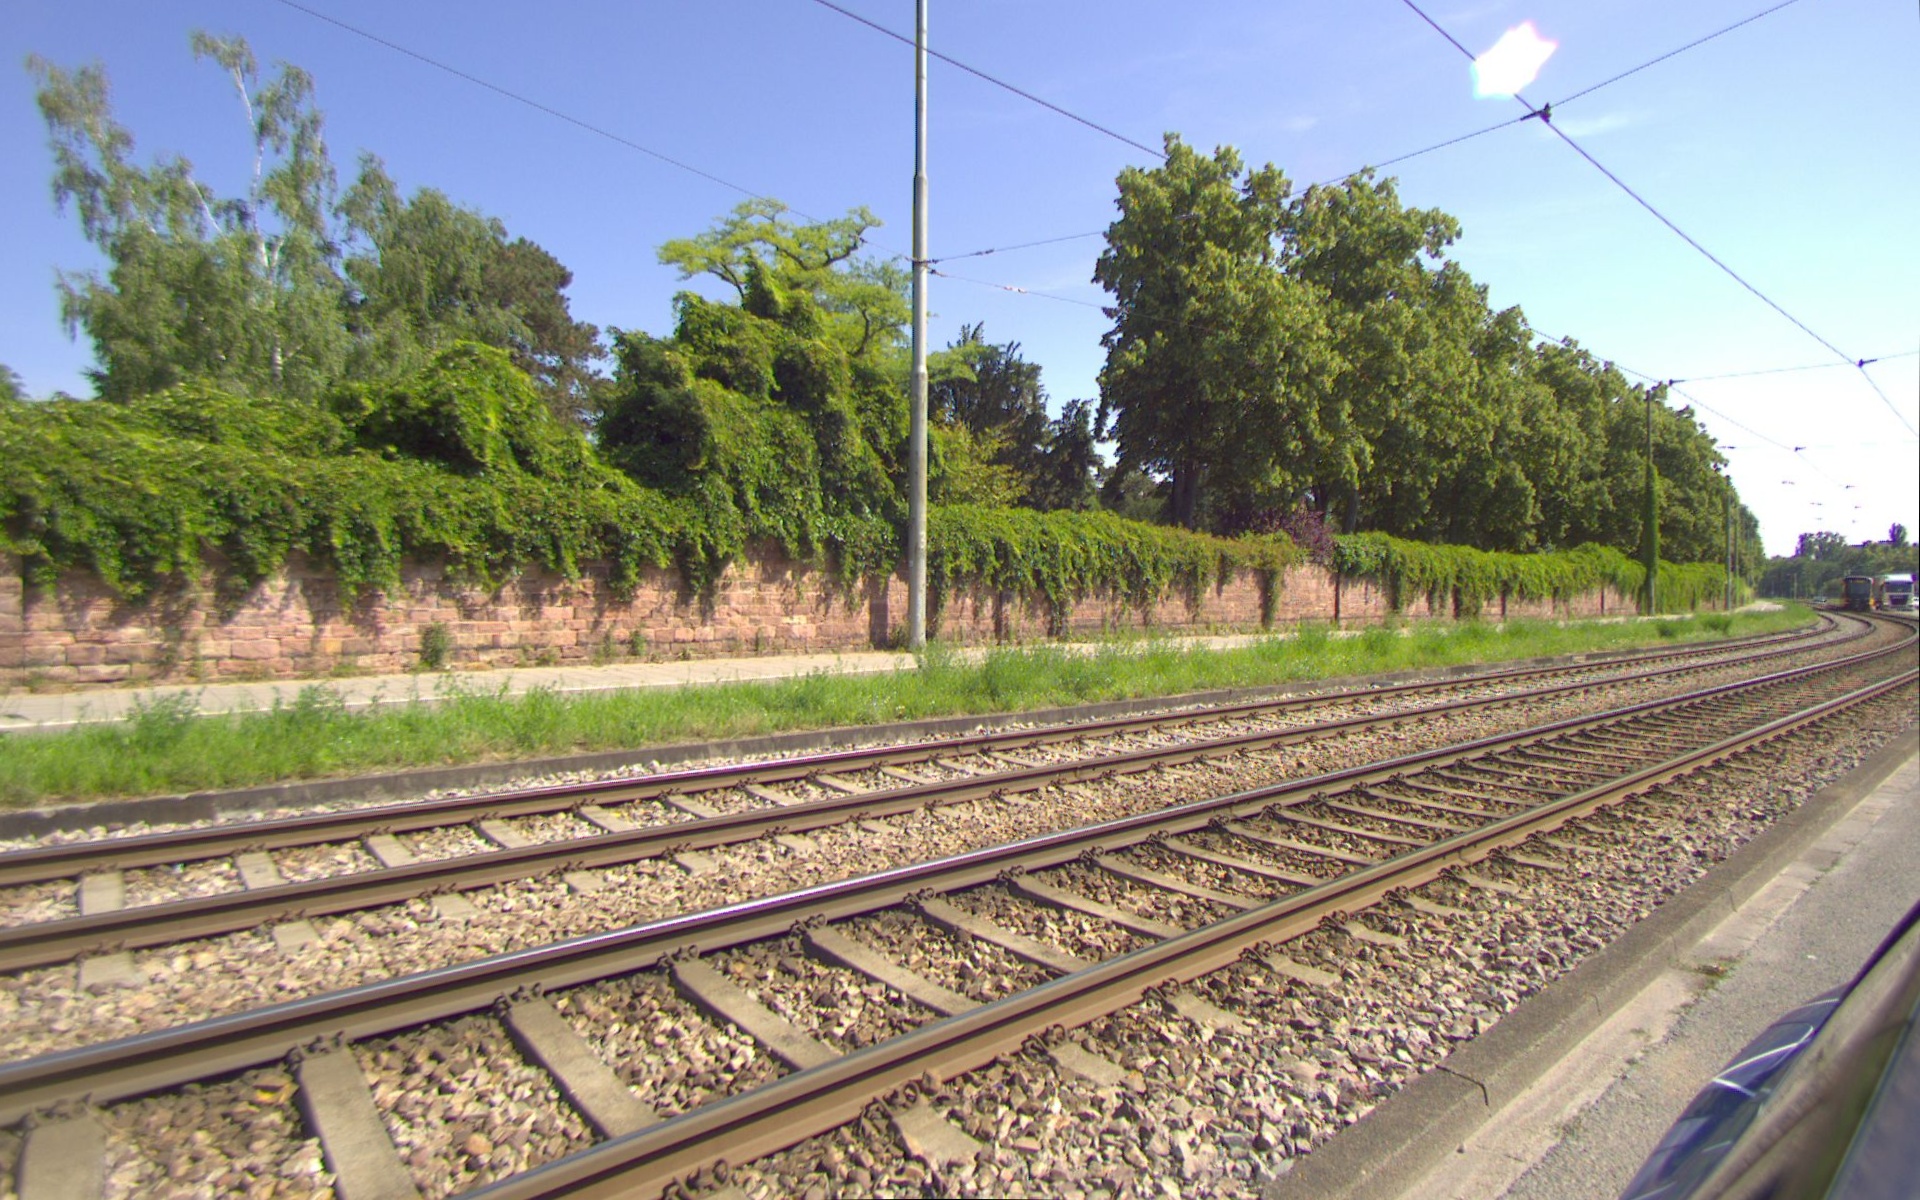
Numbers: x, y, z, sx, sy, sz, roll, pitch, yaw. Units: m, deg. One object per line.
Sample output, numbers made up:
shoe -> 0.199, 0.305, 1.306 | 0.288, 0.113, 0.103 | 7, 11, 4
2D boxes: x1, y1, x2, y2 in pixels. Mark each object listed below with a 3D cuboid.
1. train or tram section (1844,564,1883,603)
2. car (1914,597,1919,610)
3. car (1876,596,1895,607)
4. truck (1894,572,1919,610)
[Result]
train or tram section -> 94.845, -1.699, 106.127 | 2.712, 3.785, 18.587 | 0, 0, 43
car -> 122.014, 0.471, 128.142 | 1.780, 1.567, 4.325 | -1, 0, 44
car -> 147.975, 0.258, 161.794 | 1.844, 1.738, 3.947 | -2, 0, 37
truck -> 104.109, -1.000, 110.712 | 2.797, 3.998, 11.759 | 2, 2, 43
